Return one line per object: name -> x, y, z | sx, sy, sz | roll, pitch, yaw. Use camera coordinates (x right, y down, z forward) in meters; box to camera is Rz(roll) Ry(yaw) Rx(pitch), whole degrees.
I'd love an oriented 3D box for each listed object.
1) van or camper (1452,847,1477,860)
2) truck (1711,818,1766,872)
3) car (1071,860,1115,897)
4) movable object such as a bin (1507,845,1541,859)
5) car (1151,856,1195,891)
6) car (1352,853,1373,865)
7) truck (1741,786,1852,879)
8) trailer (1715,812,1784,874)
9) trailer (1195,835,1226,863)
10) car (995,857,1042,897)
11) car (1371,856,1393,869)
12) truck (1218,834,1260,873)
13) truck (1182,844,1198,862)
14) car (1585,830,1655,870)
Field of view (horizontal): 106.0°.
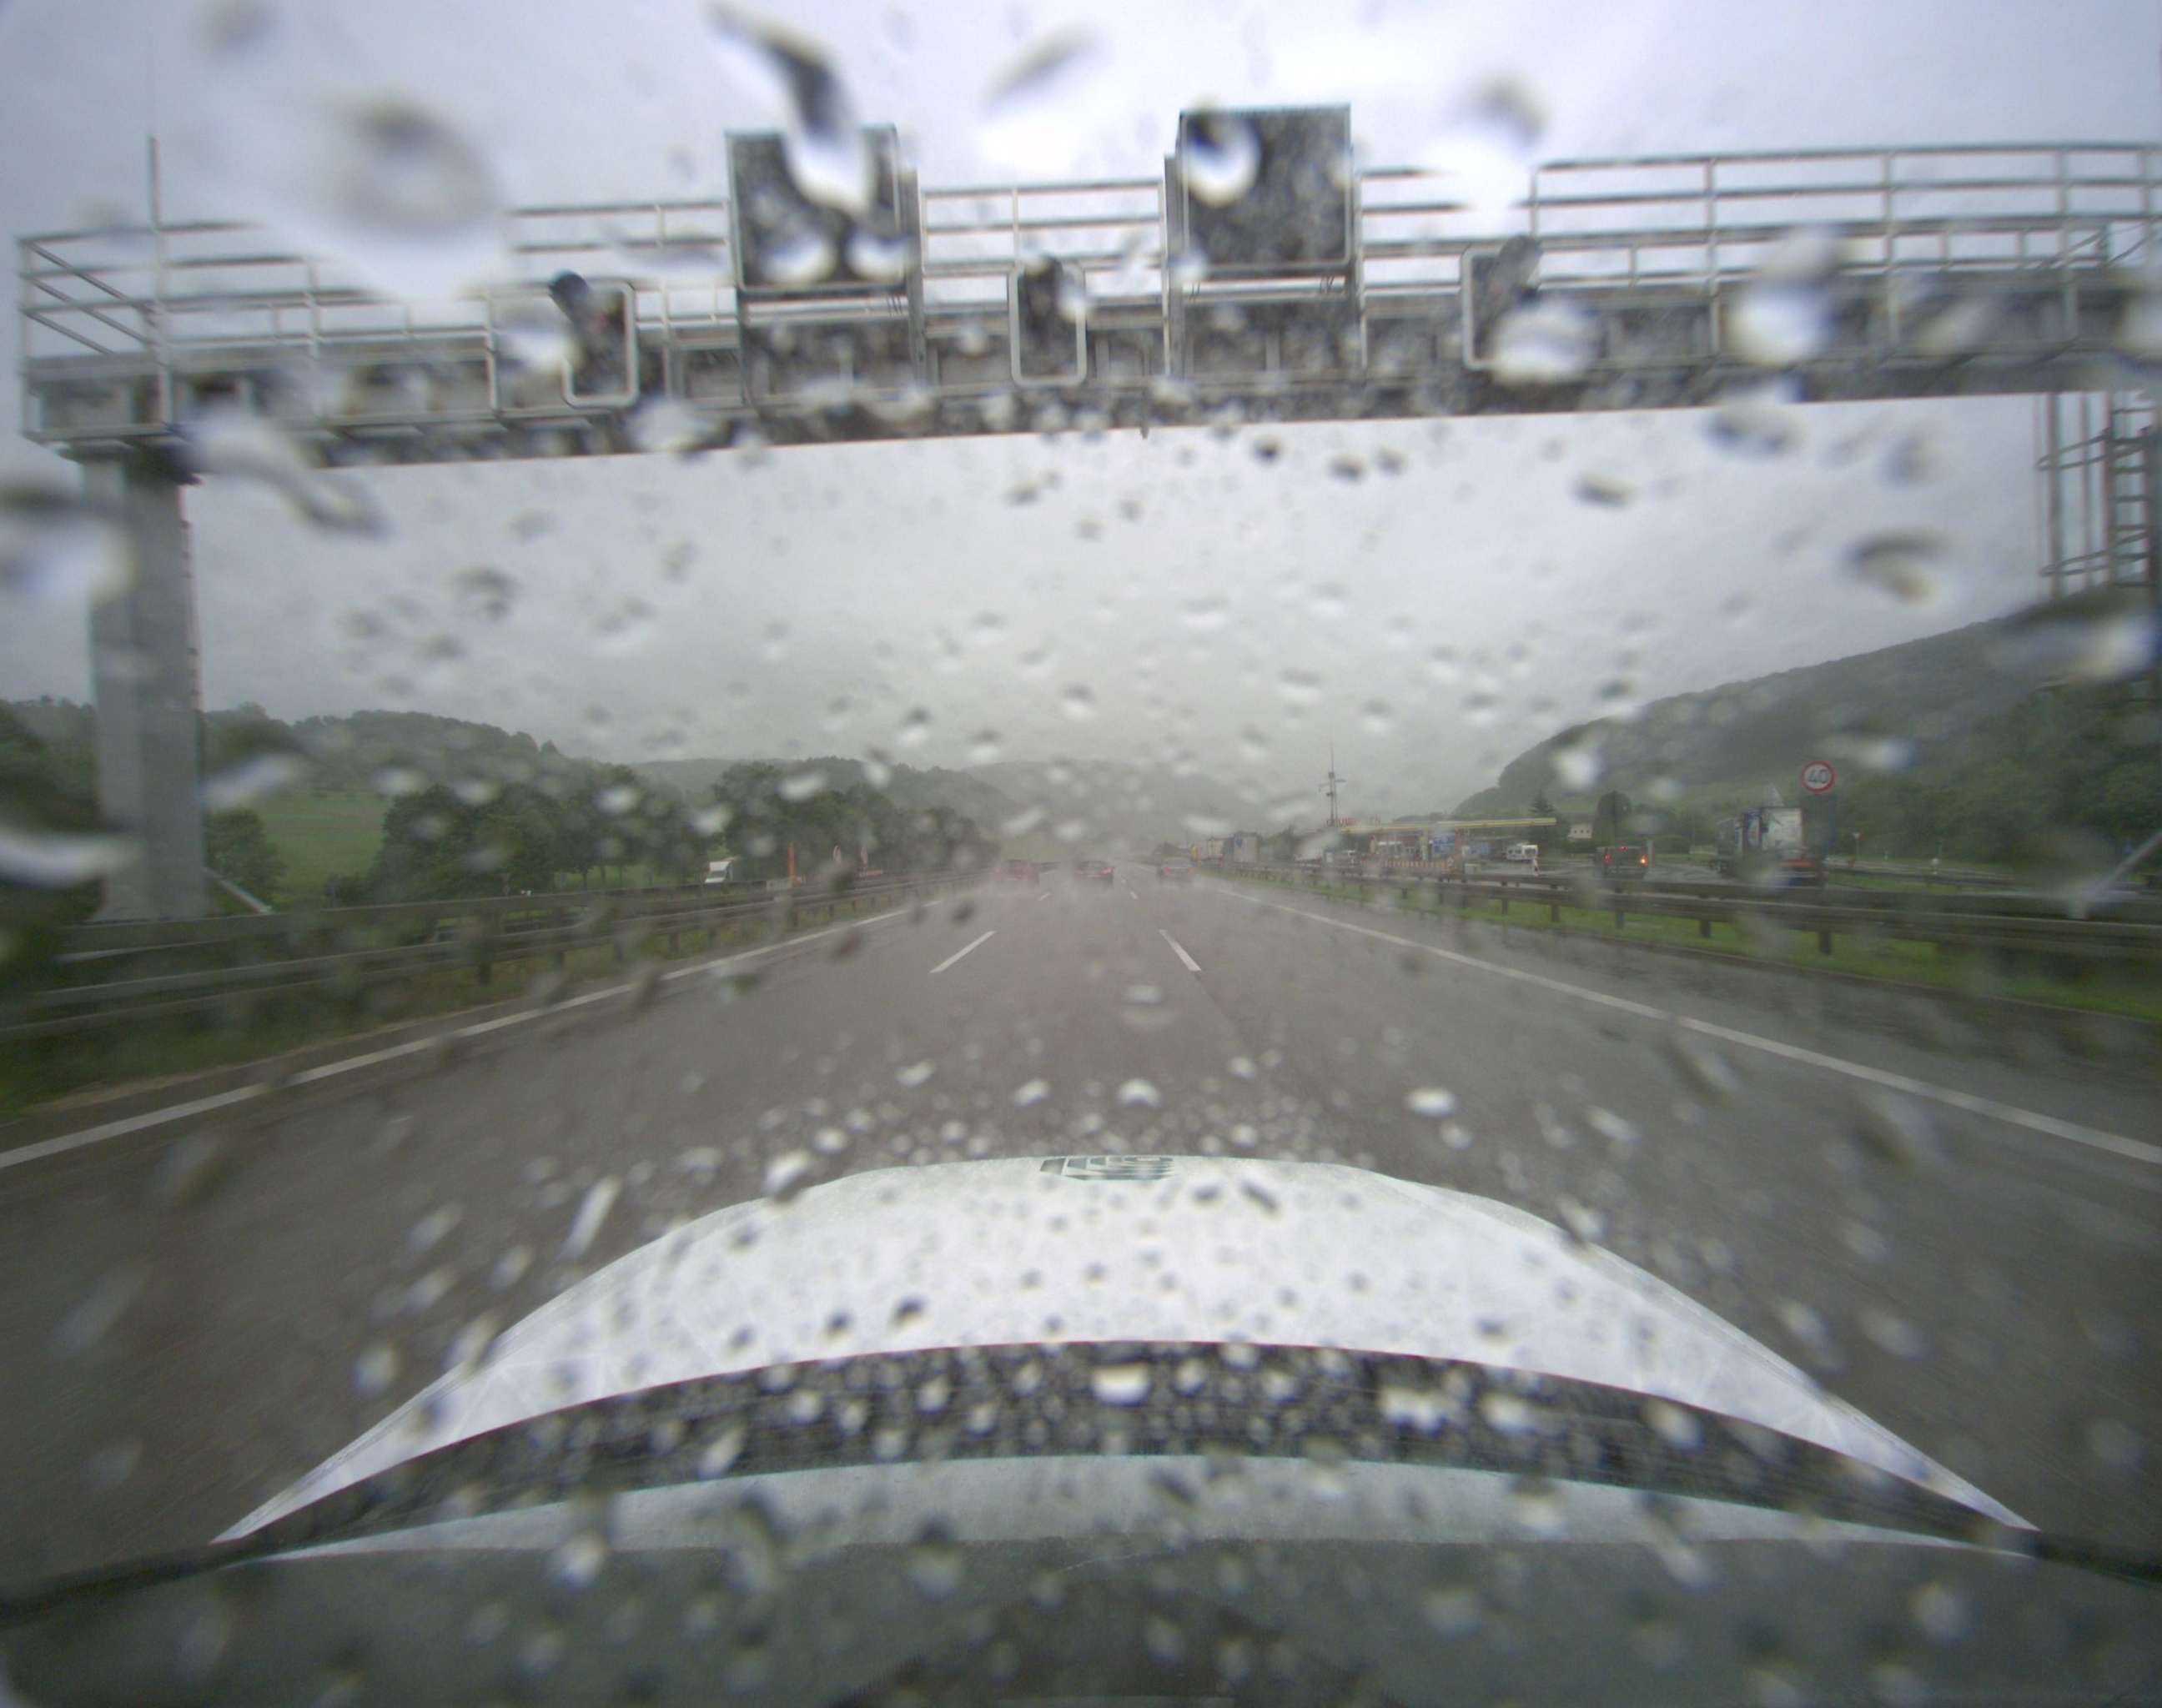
van or camper -> 59.324, -0.086, 126.116 | 1.986, 2.014, 4.001 | 0, -1, 1
truck -> 50.307, -0.625, 62.476 | 2.721, 3.867, 7.582 | -1, -1, 35
car -> 0.595, 1.086, 37.013 | 1.852, 1.589, 4.002 | 0, -1, 2
movable object such as a bin -> 66.739, -0.224, 122.781 | 2.158, 2.014, 5.384 | 0, -1, 1
car -> 4.864, 0.993, 43.501 | 1.964, 1.760, 4.002 | -1, 0, 2
car -> 46.583, 0.853, 134.904 | 1.986, 2.014, 4.902 | 0, -1, 1
truck -> 37.236, -0.947, 42.837 | 2.842, 4.256, 11.947 | -1, -1, 34
trailer -> 46.405, -0.654, 56.831 | 2.757, 3.900, 11.825 | -1, -1, 35
trailer -> 20.356, -0.677, 128.511 | 3.502, 4.262, 11.928 | 0, -1, 3
car -> -3.021, 1.063, 40.105 | 1.878, 1.816, 4.001 | -1, 0, 1
car -> 47.094, 1.335, 127.507 | 1.953, 2.014, 4.001 | 0, -1, 2
truck -> 18.999, -0.054, 98.579 | 3.388, 4.402, 11.055 | 0, 0, 2
truck -> 20.141, -0.170, 151.048 | 2.281, 3.147, 8.872 | 0, -1, 4
car -> 29.432, -0.215, 44.616 | 1.977, 2.013, 5.079 | -1, 0, 19
